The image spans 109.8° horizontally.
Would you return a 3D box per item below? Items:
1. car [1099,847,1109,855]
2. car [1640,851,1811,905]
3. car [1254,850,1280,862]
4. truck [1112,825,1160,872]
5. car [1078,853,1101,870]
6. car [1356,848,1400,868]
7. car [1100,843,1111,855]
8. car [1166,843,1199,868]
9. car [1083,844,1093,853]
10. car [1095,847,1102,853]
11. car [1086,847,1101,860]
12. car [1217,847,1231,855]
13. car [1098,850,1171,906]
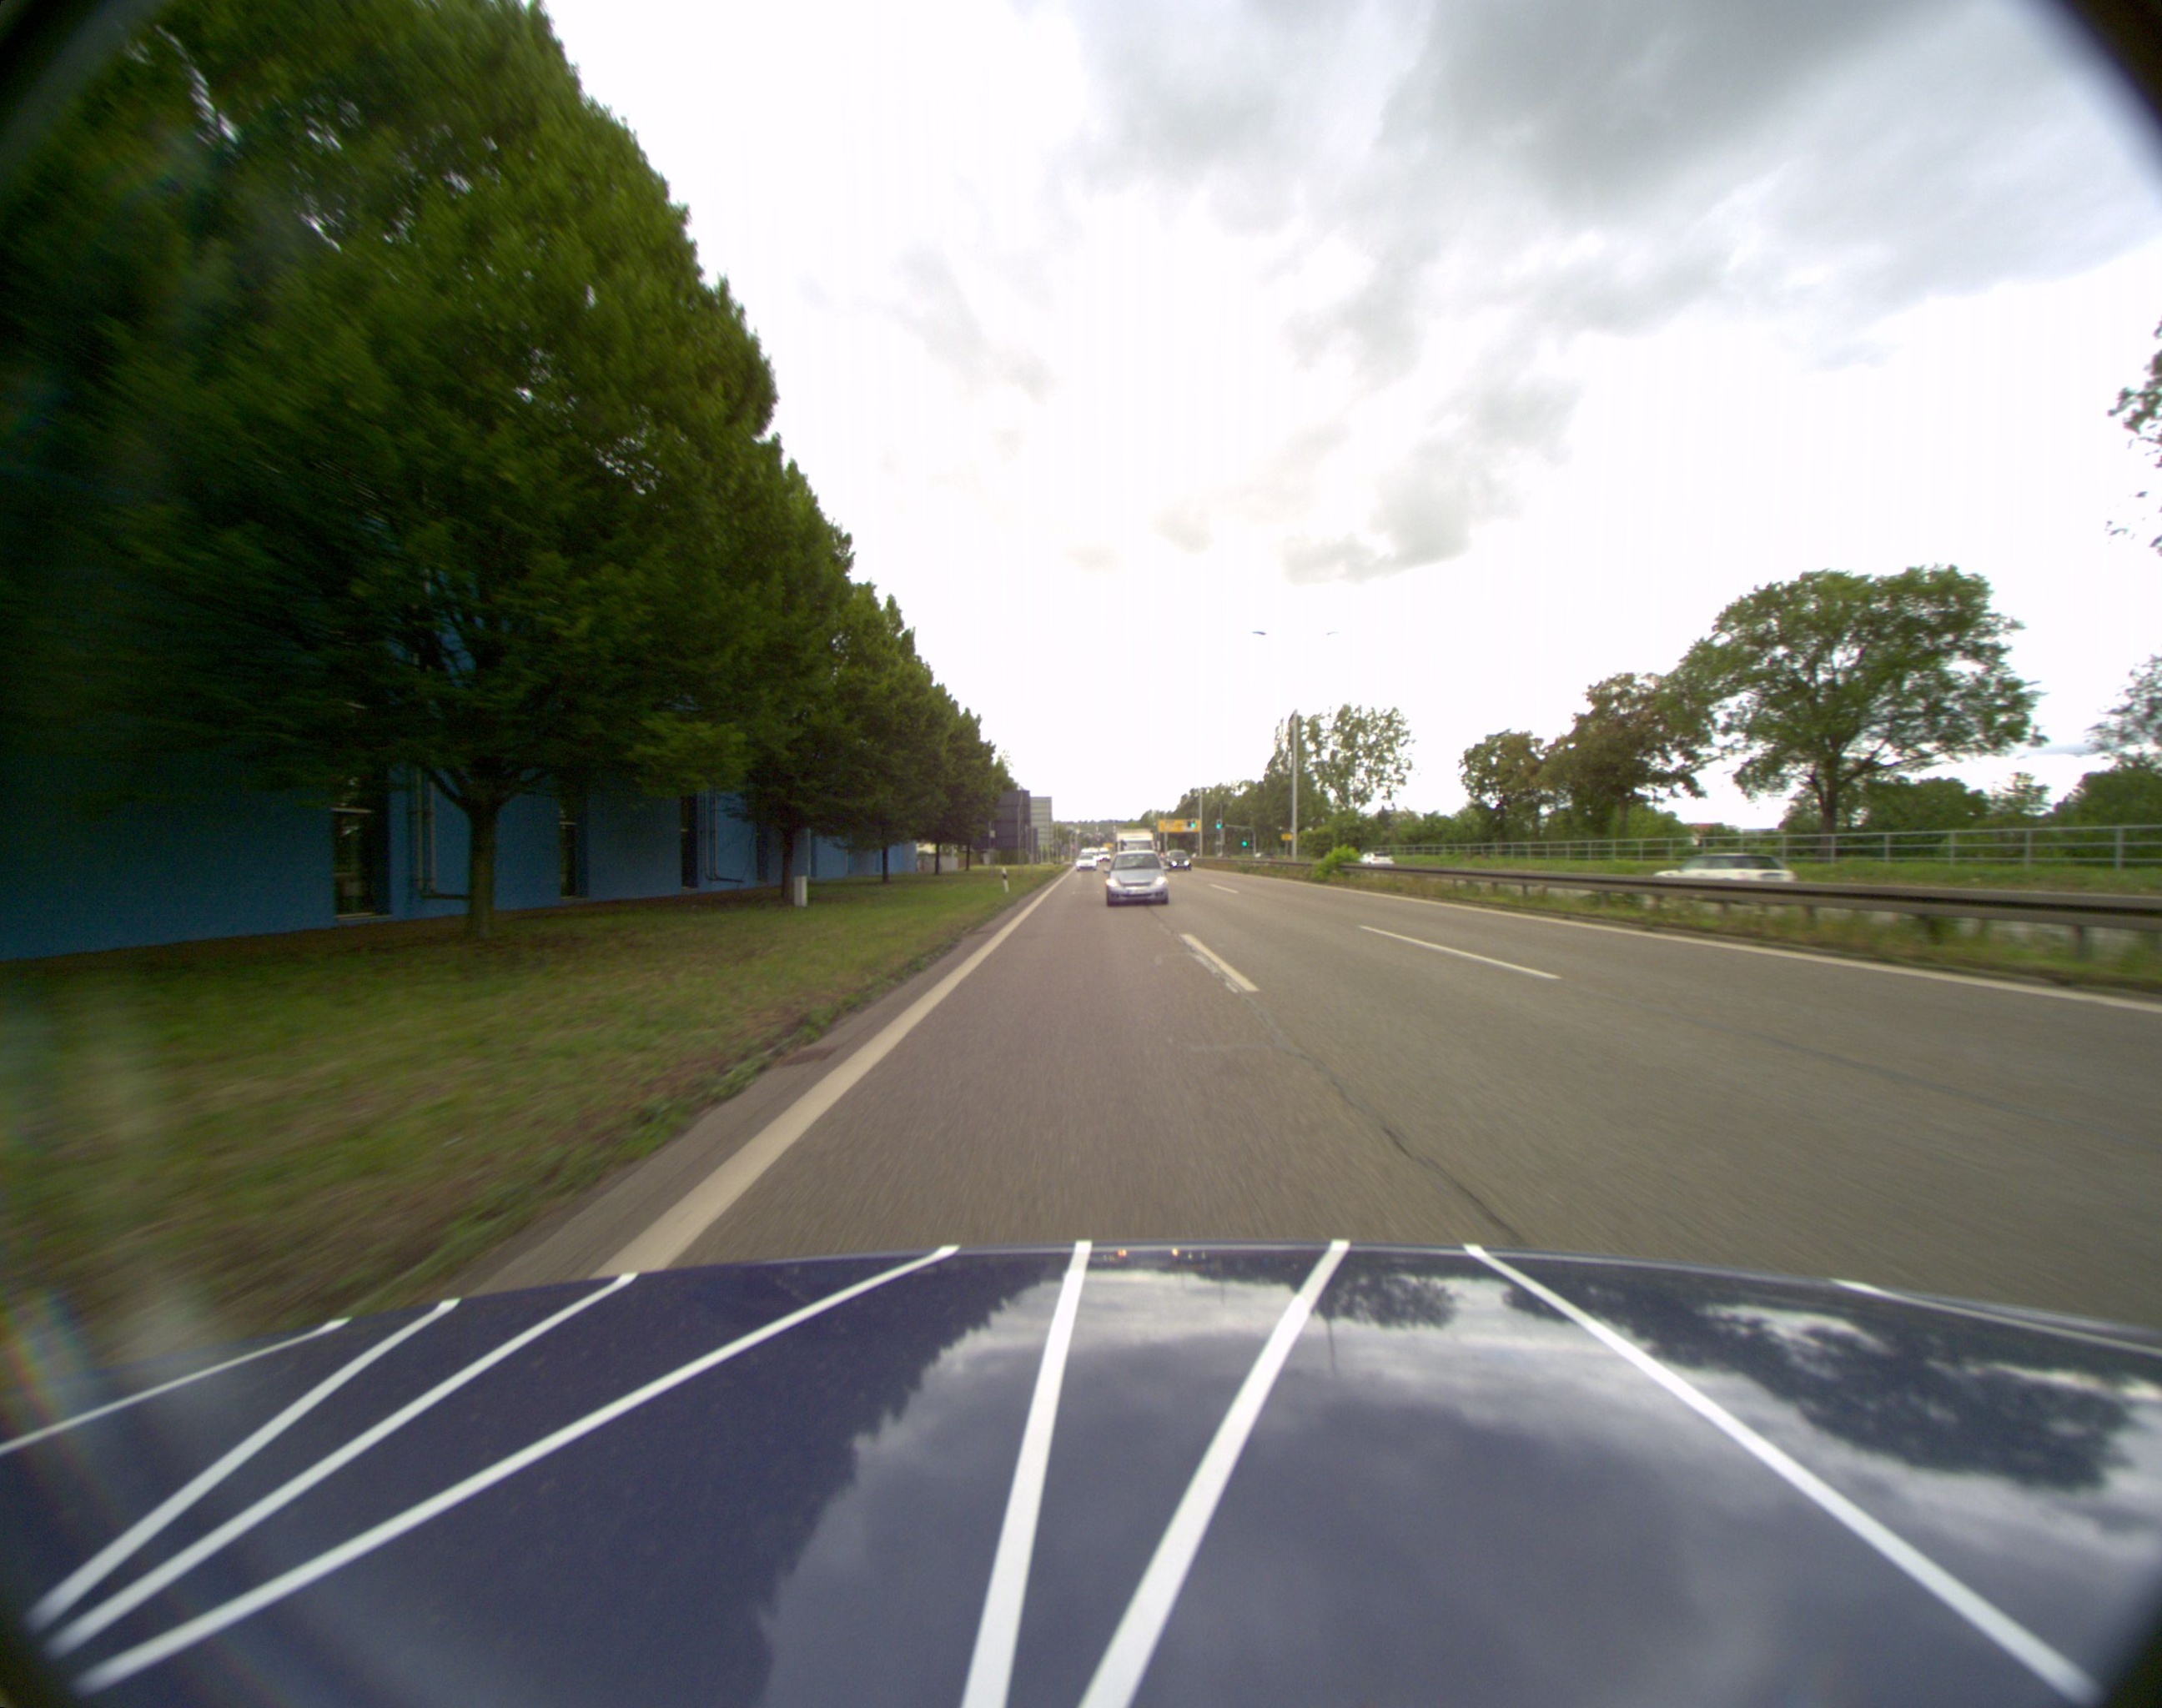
[{"bbox_3d":[5.231,-0.653,172.638,1.949,1.811,4.000,-1,0,0],"label":"car"},{"bbox_3d":[18.675,0.647,22.266,1.663,1.390,3.989,-1,0,1],"label":"car"},{"bbox_3d":[20.144,0.232,82.571,1.664,1.291,4.788,-1,0,0],"label":"car"},{"bbox_3d":[4.012,-0.363,58.140,2.657,3.121,12.508,-1,0,0],"label":"truck"},{"bbox_3d":[0.706,0.653,67.700,1.949,1.516,4.000,-1,0,0],"label":"car"},{"bbox_3d":[23.623,0.319,60.596,1.883,1.481,4.202,-1,0,1],"label":"car"},{"bbox_3d":[4.576,-0.919,141.855,1.949,2.176,4.000,-1,0,0],"label":"car"},{"bbox_3d":[7.524,0.113,56.613,1.883,1.714,4.146,-1,0,0],"label":"car"},{"bbox_3d":[1.460,-1.064,157.503,1.949,1.811,4.000,-1,0,0],"label":"car"},{"bbox_3d":[5.147,-1.213,224.482,1.949,1.811,4.000,-1,0,0],"label":"car"},{"bbox_3d":[1.717,-0.014,102.301,1.883,1.714,4.146,-1,0,0],"label":"car"},{"bbox_3d":[24.071,-0.495,127.833,1.582,1.291,4.061,-1,0,1],"label":"car"},{"bbox_3d":[1.536,0.664,23.131,1.883,1.530,4.146,-1,0,0],"label":"car"}]
